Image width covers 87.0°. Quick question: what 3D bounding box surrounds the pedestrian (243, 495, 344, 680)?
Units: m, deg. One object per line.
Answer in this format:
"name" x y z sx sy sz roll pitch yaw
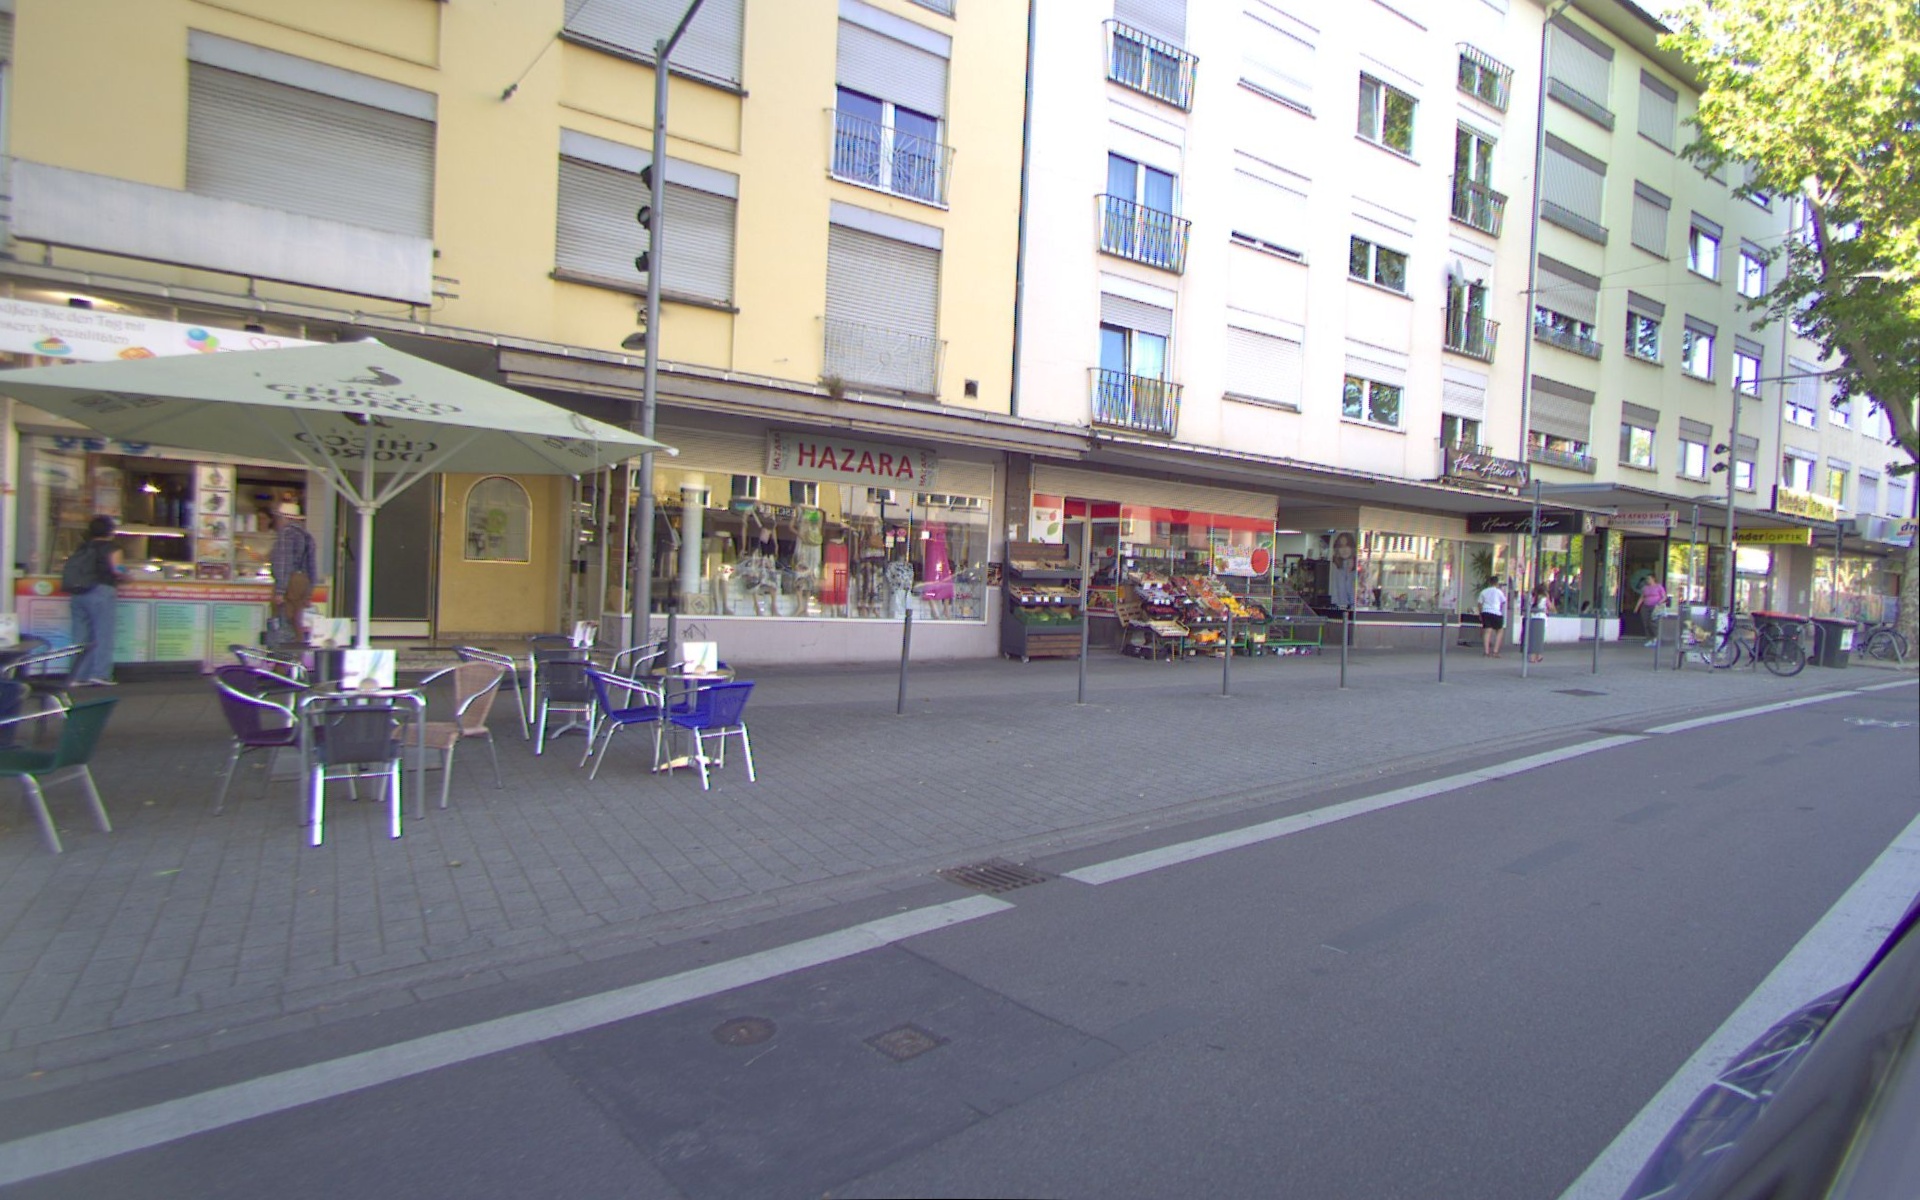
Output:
"pedestrian" -6.839 -0.133 10.406 0.614 1.826 0.638 1 1 -4

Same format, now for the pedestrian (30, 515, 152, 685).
"pedestrian" -8.339 -0.016 9.742 0.624 1.564 0.628 1 5 -9

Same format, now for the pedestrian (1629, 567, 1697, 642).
"pedestrian" 17.481 0.087 25.174 1.111 1.784 0.972 0 3 -32

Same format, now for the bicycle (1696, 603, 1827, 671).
"bicycle" 15.726 0.704 19.907 0.507 1.118 1.918 1 4 -26

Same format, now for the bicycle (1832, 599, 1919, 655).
"bicycle" 21.065 0.602 22.996 0.731 1.130 1.725 -3 4 -32

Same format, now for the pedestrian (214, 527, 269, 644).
"pedestrian" -8.344 -0.172 11.751 0.498 1.312 0.427 1 2 -36

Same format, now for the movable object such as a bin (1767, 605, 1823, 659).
"movable object such as a bin" 18.586 0.703 22.535 0.632 1.084 0.725 0 6 -35

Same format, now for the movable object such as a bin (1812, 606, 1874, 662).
"movable object such as a bin" 19.096 0.724 21.901 0.631 1.115 0.726 1 5 -26

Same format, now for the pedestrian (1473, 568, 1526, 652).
"pedestrian" 10.726 0.192 20.125 0.614 1.605 0.625 1 4 -34

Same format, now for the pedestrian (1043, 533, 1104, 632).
"pedestrian" 2.088 -0.316 18.604 0.864 1.766 0.686 1 0 -37

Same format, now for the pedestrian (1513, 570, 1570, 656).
"pedestrian" 11.249 0.244 19.585 0.614 1.605 0.638 1 4 -34

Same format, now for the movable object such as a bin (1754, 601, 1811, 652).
"movable object such as a bin" 18.920 0.604 23.296 0.630 1.085 0.726 1 3 -15
